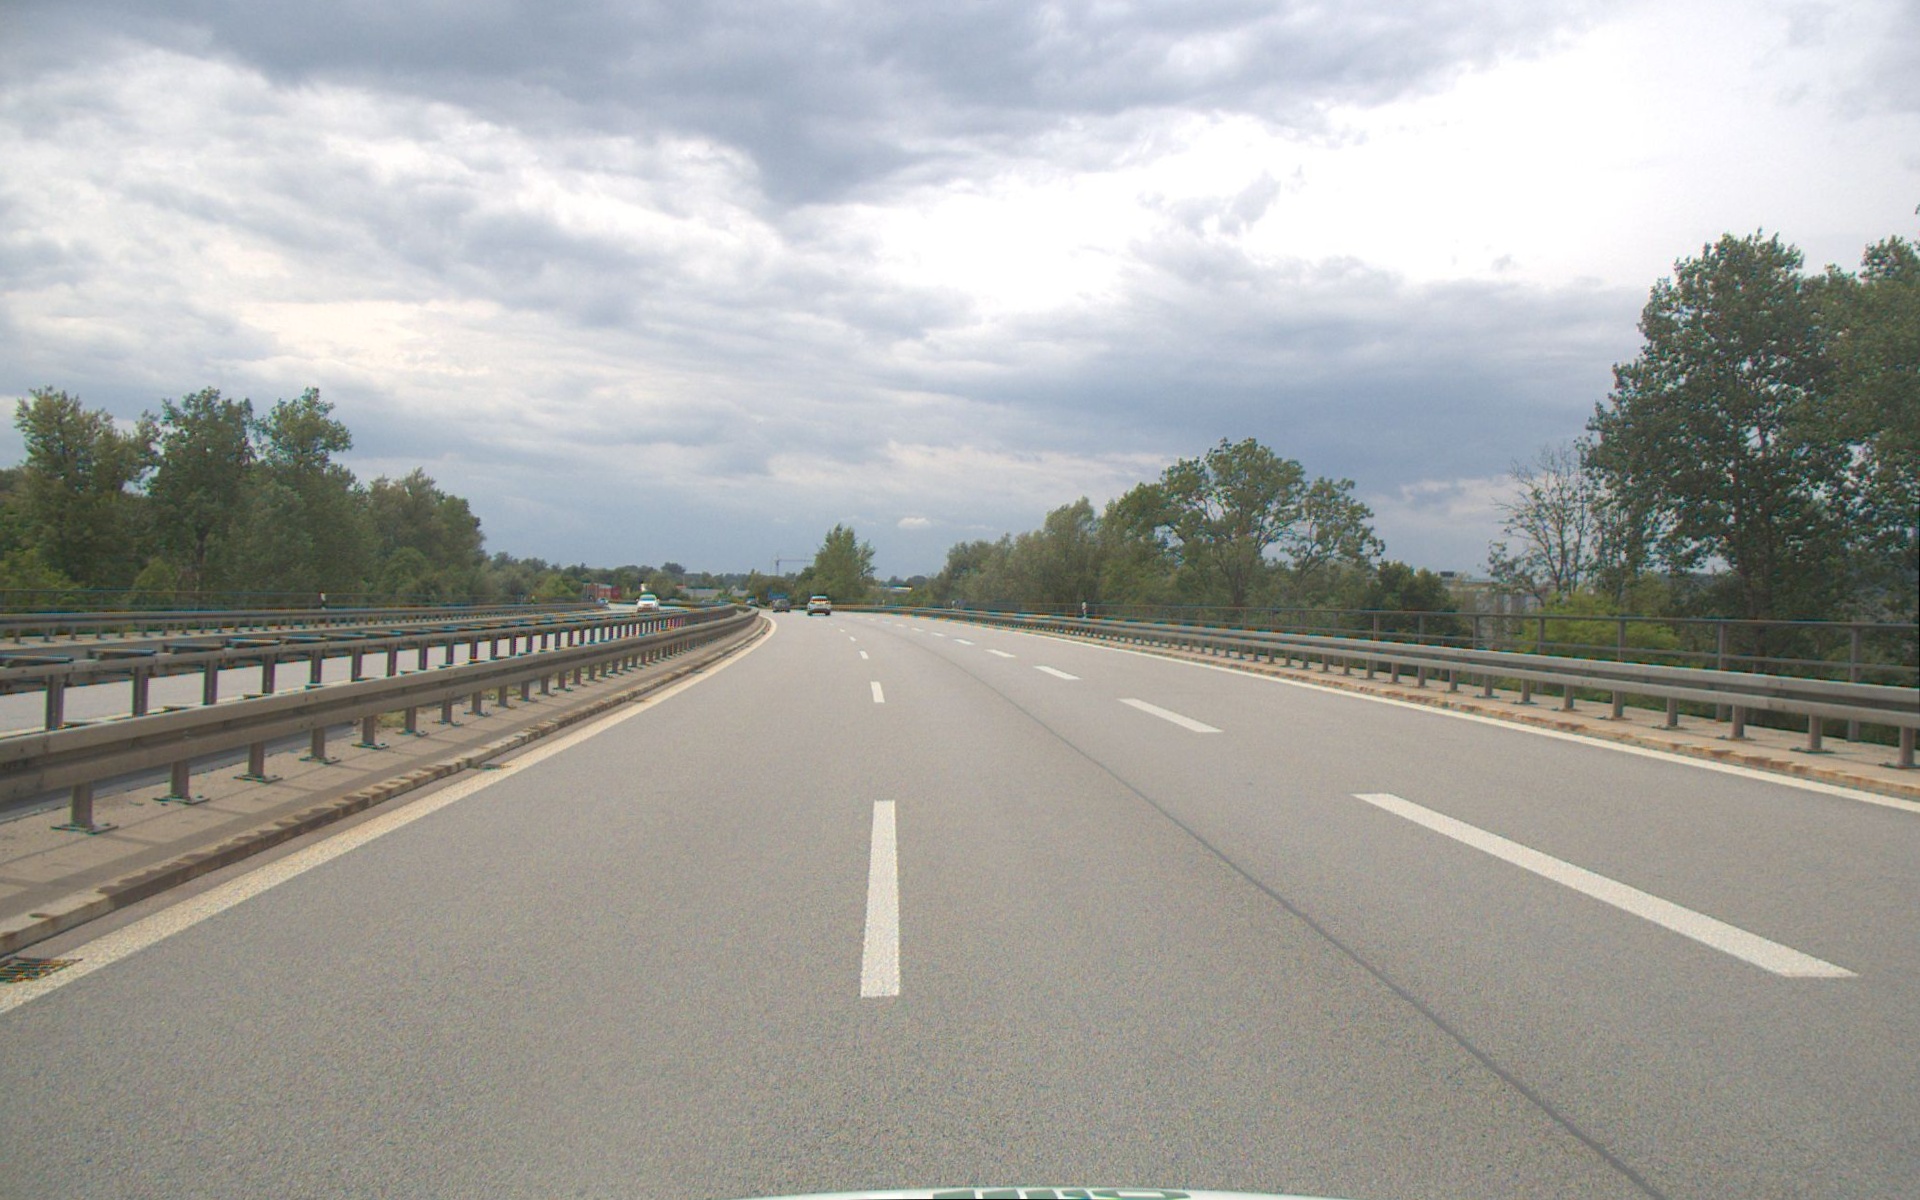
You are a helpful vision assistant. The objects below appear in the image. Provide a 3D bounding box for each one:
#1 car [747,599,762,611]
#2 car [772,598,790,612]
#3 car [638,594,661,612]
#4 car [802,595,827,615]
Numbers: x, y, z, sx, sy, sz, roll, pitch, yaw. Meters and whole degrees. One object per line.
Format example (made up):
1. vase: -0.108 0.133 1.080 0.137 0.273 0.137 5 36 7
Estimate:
1. car: -28.953 0.696 232.983 1.868 1.668 4.767 0 0 -10
2. car: -20.743 0.560 191.886 1.857 1.668 4.612 0 0 -9
3. car: -25.237 0.246 134.581 1.501 1.431 4.323 0 0 -6
4. car: -12.793 0.430 145.565 1.867 1.668 4.387 1 0 -9
